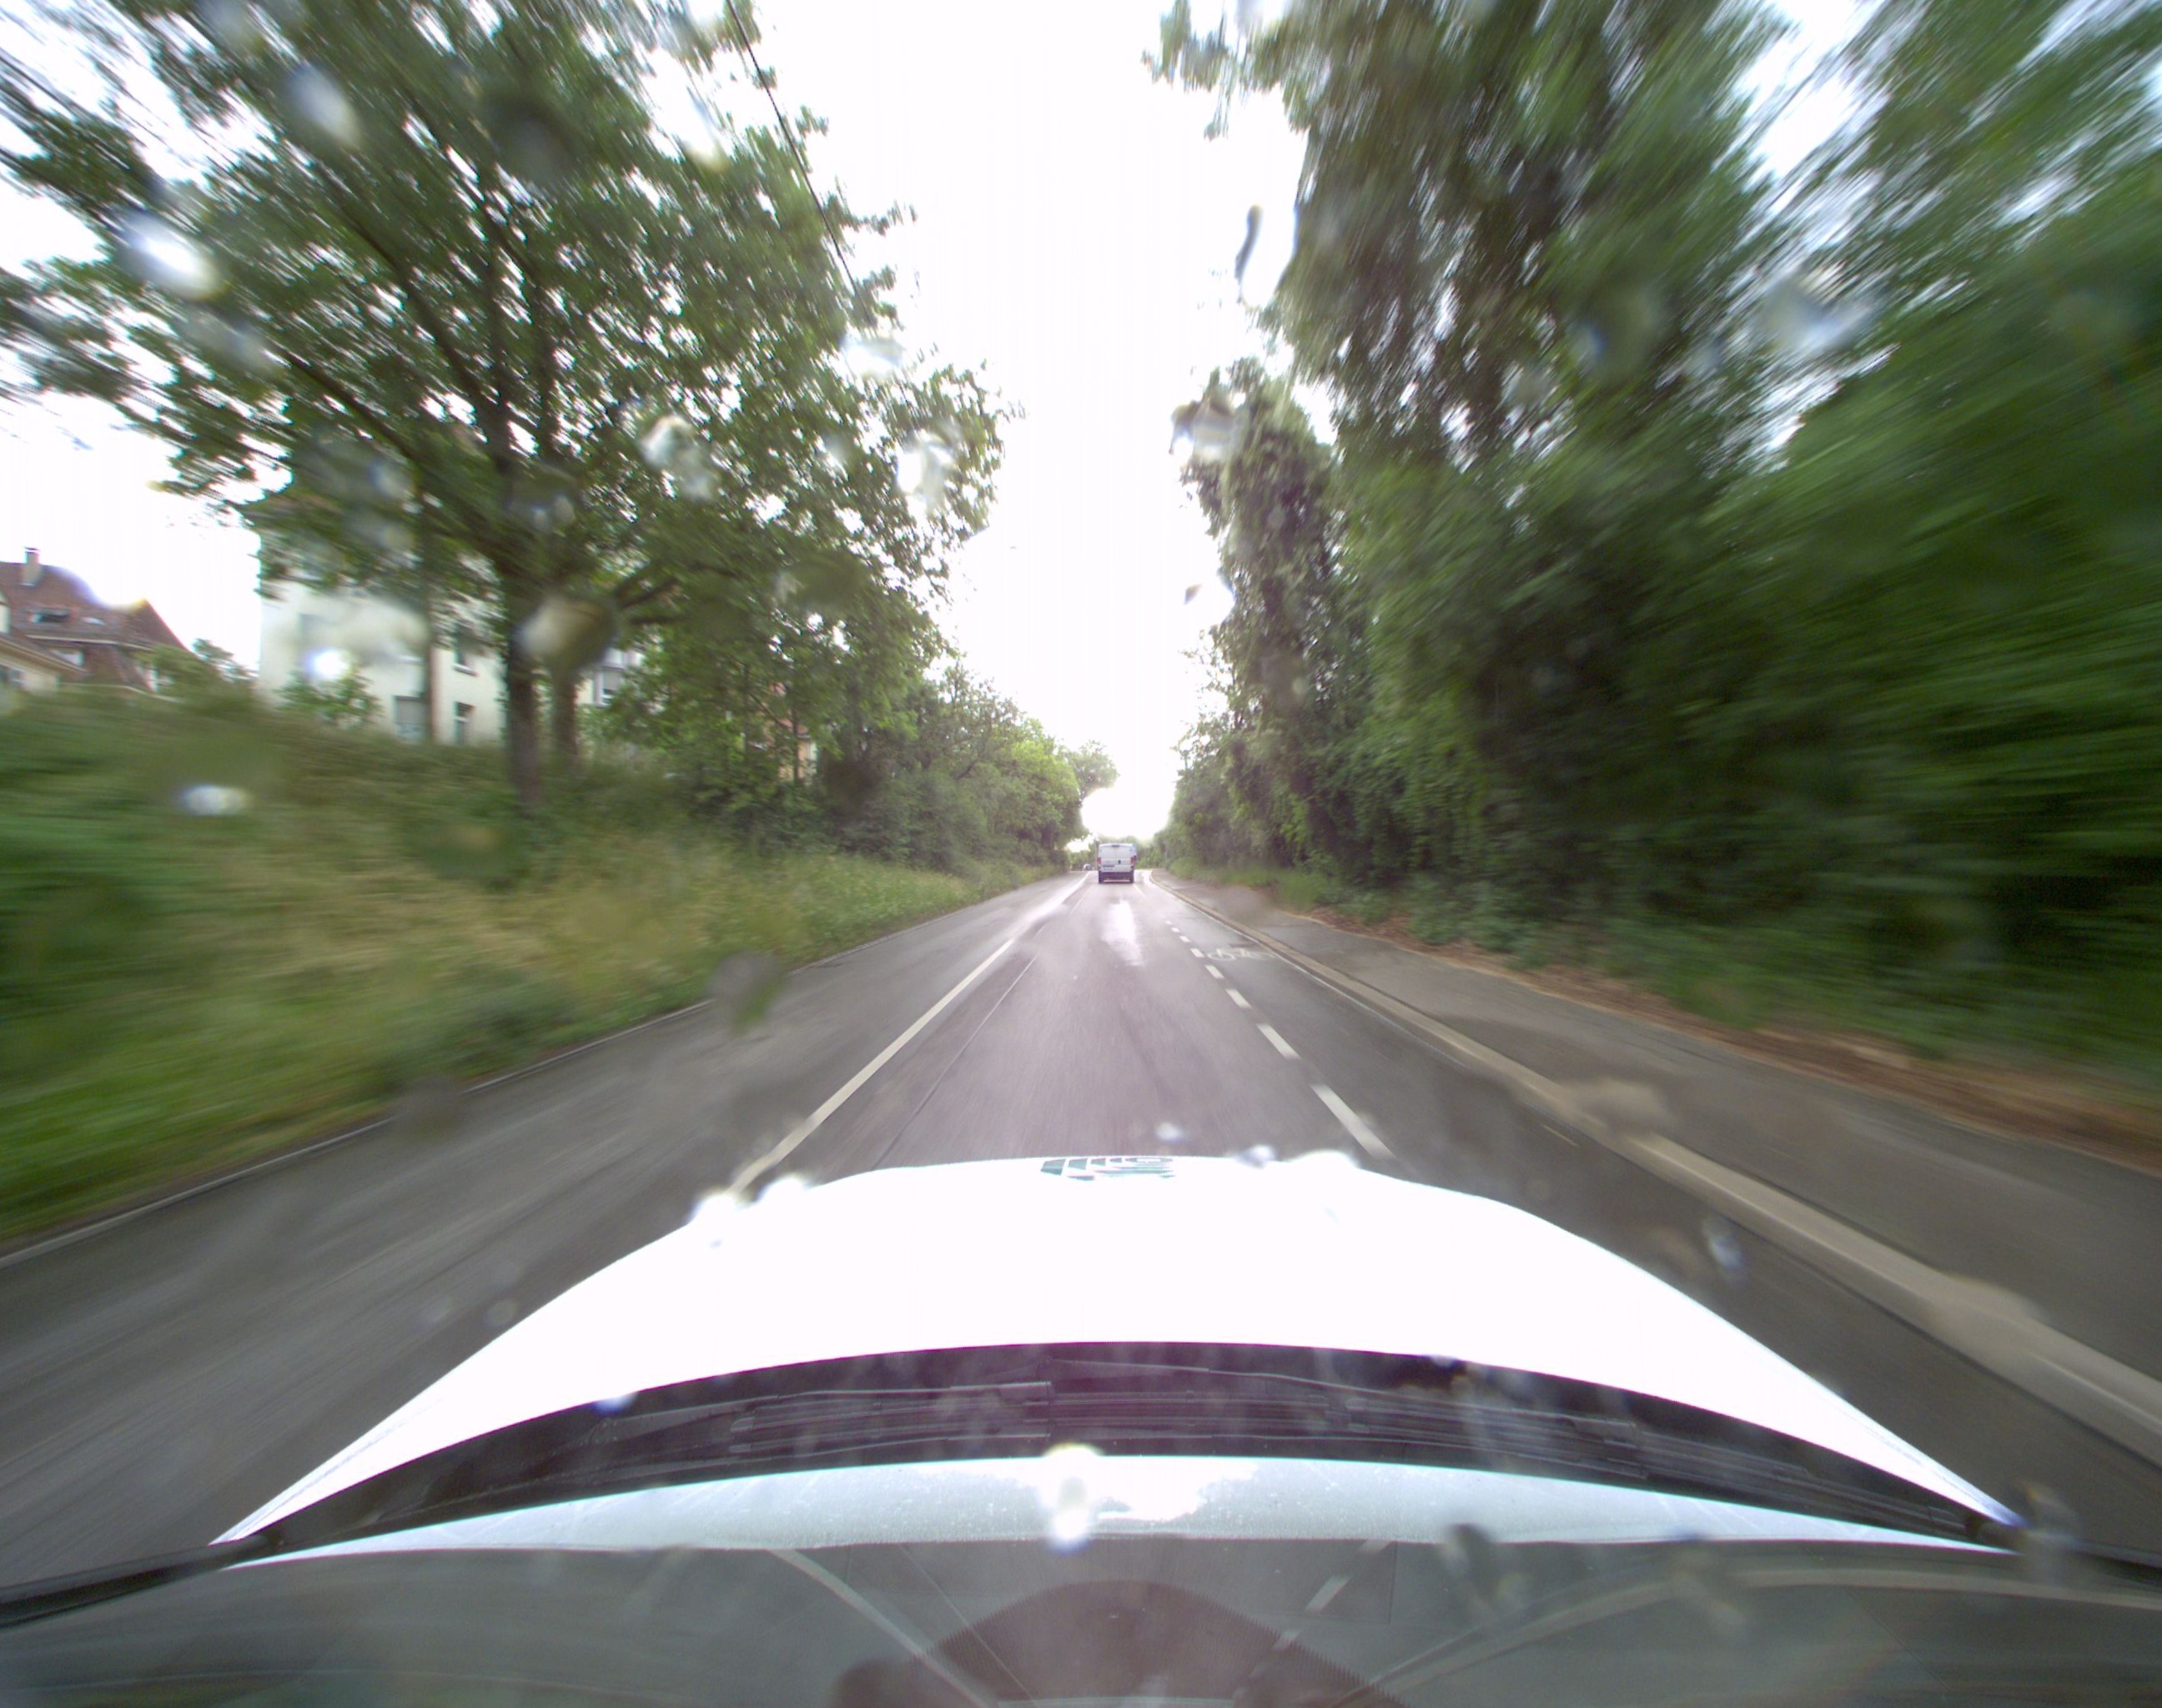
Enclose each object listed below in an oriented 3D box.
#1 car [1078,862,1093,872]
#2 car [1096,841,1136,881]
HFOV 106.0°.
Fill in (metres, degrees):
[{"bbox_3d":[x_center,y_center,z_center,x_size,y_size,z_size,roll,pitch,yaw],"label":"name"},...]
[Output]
[{"bbox_3d":[0.799,2.433,154.967,2.111,1.711,4.696,0,0,-11],"label":"car"},{"bbox_3d":[2.015,0.390,47.724,2.229,2.213,4.715,0,0,2],"label":"car"}]
